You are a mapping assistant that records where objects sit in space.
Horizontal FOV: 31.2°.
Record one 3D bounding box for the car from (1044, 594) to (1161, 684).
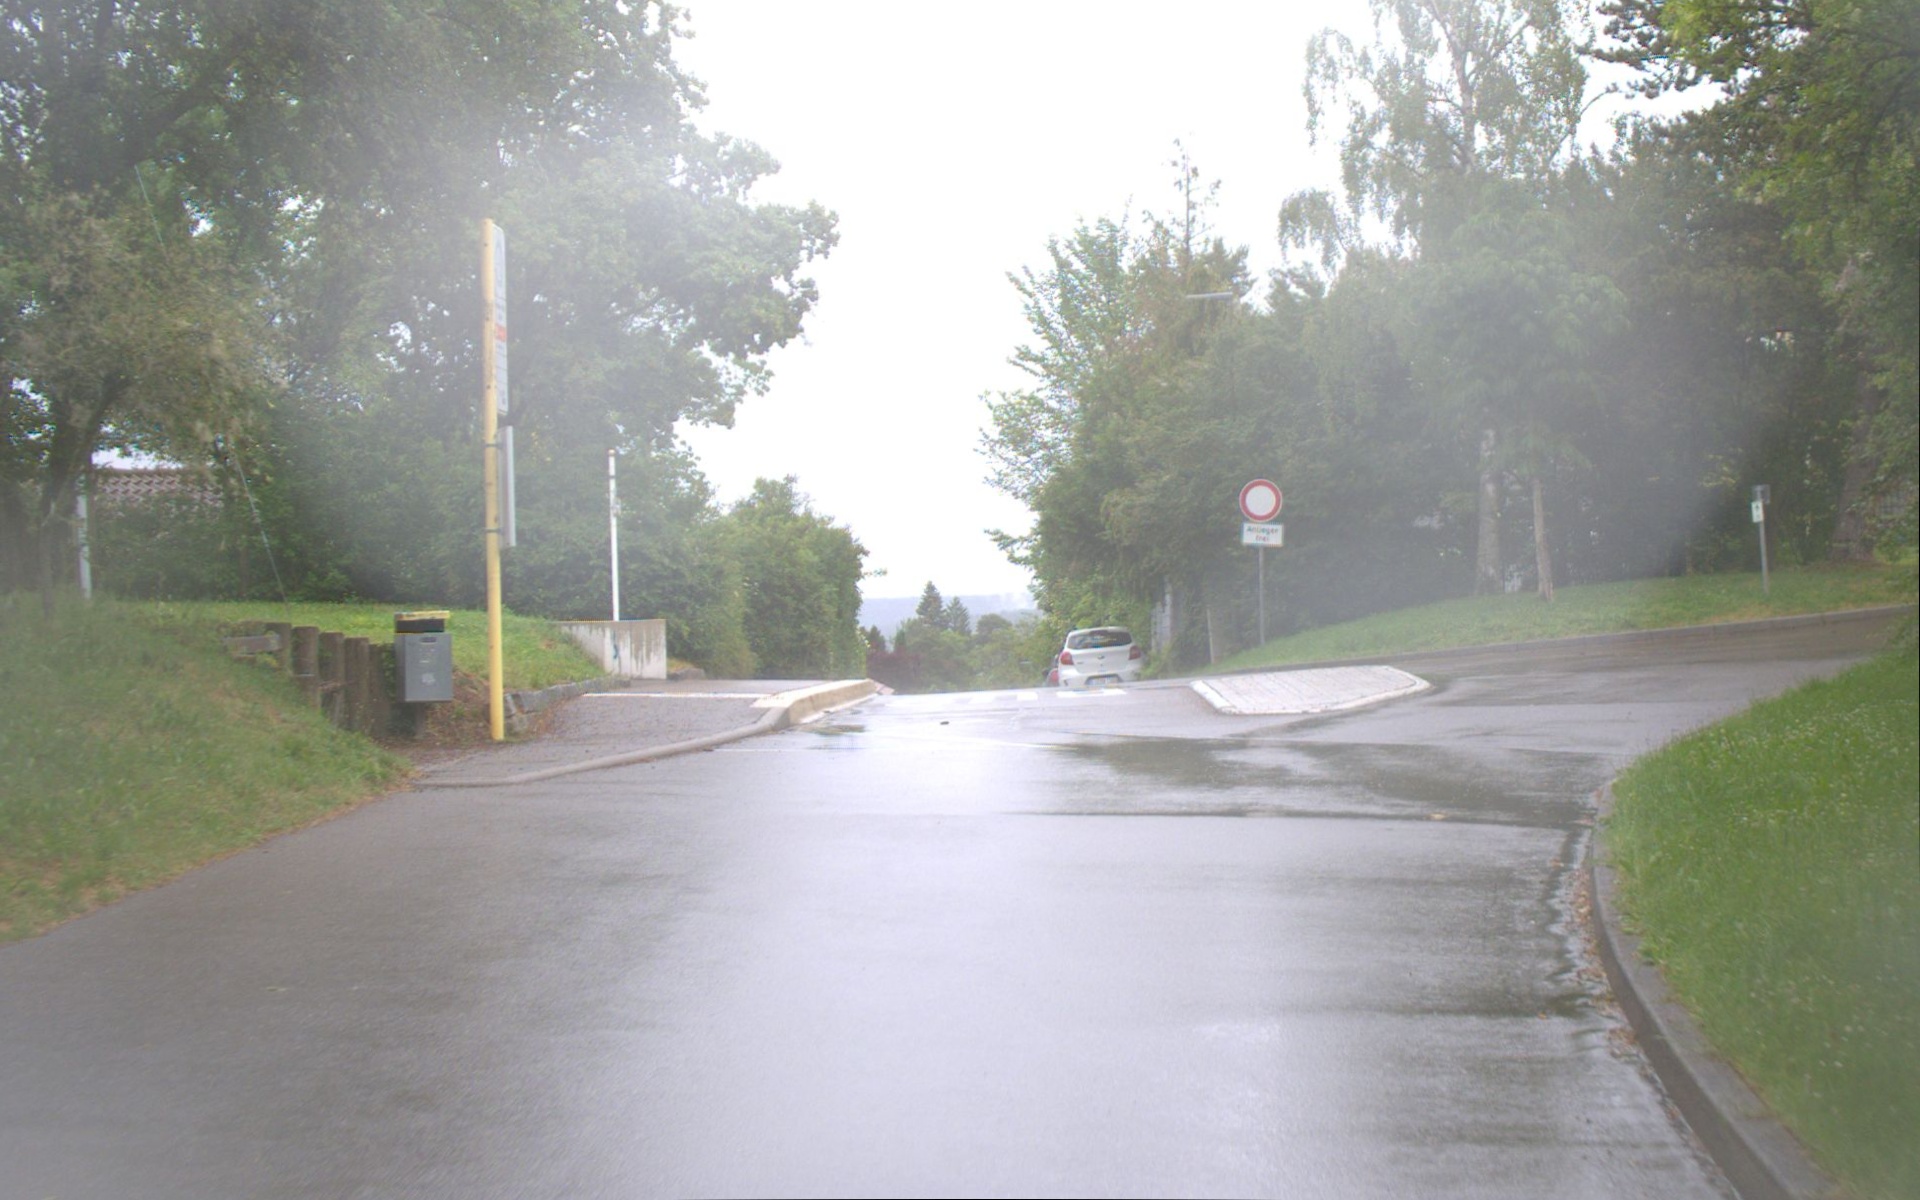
[{"bbox_3d":[2.781,0.774,66.459,1.994,1.578,3.998,-1,-3,6],"label":"car"}]
